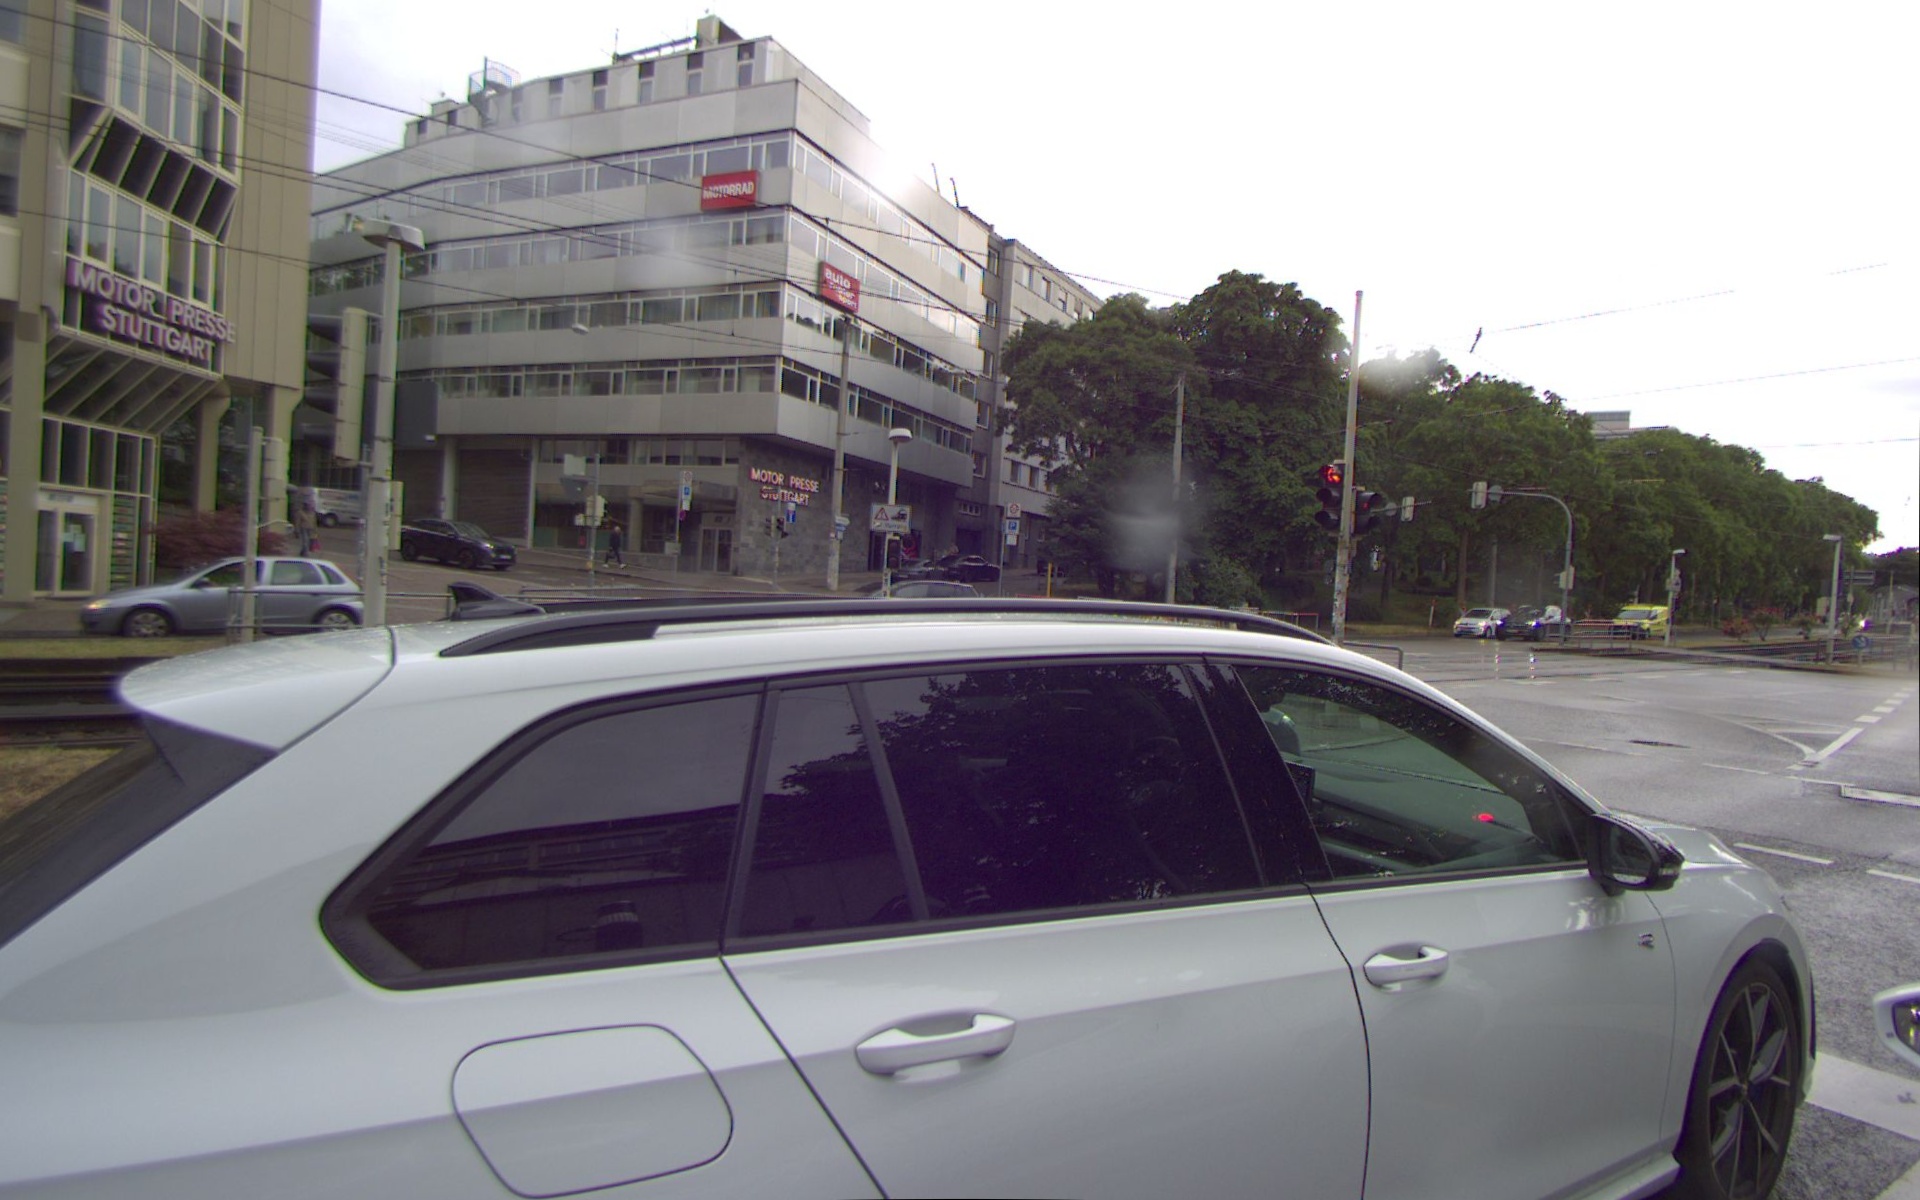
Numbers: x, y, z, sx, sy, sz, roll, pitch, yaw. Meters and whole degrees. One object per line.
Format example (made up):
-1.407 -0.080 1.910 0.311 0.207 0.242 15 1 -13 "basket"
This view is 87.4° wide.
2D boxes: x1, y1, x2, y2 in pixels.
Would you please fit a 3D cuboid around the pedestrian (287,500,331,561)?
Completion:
-20.252 -2.148 31.255 0.746 1.811 0.830 5 2 25 "pedestrian"

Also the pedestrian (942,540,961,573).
-0.516 -2.610 60.031 0.710 1.886 0.756 6 5 43 "pedestrian"

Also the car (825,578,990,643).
-1.327 0.247 24.675 3.804 1.375 1.629 2 2 -12 "car"

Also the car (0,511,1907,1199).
0.295 0.700 2.473 4.423 1.461 1.787 2 0 -30 "car"

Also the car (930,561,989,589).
0.030 -1.359 55.585 1.842 1.450 3.998 3 2 22 "car"

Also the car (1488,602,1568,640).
26.331 0.989 46.529 3.648 1.566 1.905 2 1 -37 "car"

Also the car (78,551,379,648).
-11.932 -0.007 16.527 3.843 1.375 1.612 1 2 -43 "car"

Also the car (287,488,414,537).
-32.032 -4.552 52.996 1.964 2.040 5.403 2 0 30 "car"

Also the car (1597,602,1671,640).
36.564 1.127 54.443 4.525 1.875 1.905 2 1 -38 "car"

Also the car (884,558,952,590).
-2.061 -1.300 50.611 1.842 1.450 4.091 3 2 22 "car"

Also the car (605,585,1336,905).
0.193 0.717 6.487 4.423 1.461 1.787 2 0 -30 "car"

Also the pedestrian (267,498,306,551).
-22.200 -2.469 33.108 0.746 1.661 0.719 5 2 25 "pedestrian"

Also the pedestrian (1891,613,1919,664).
35.403 1.422 37.468 0.860 1.826 0.862 5 3 45 "pedestrian"

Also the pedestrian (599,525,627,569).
-15.490 -2.380 44.879 0.833 1.886 0.719 5 2 25 "pedestrian"

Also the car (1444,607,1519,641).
26.061 1.211 50.185 3.648 1.566 1.905 2 1 -37 "car"

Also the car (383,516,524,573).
-18.828 -2.053 37.308 4.794 1.601 1.999 7 3 23 "car"
